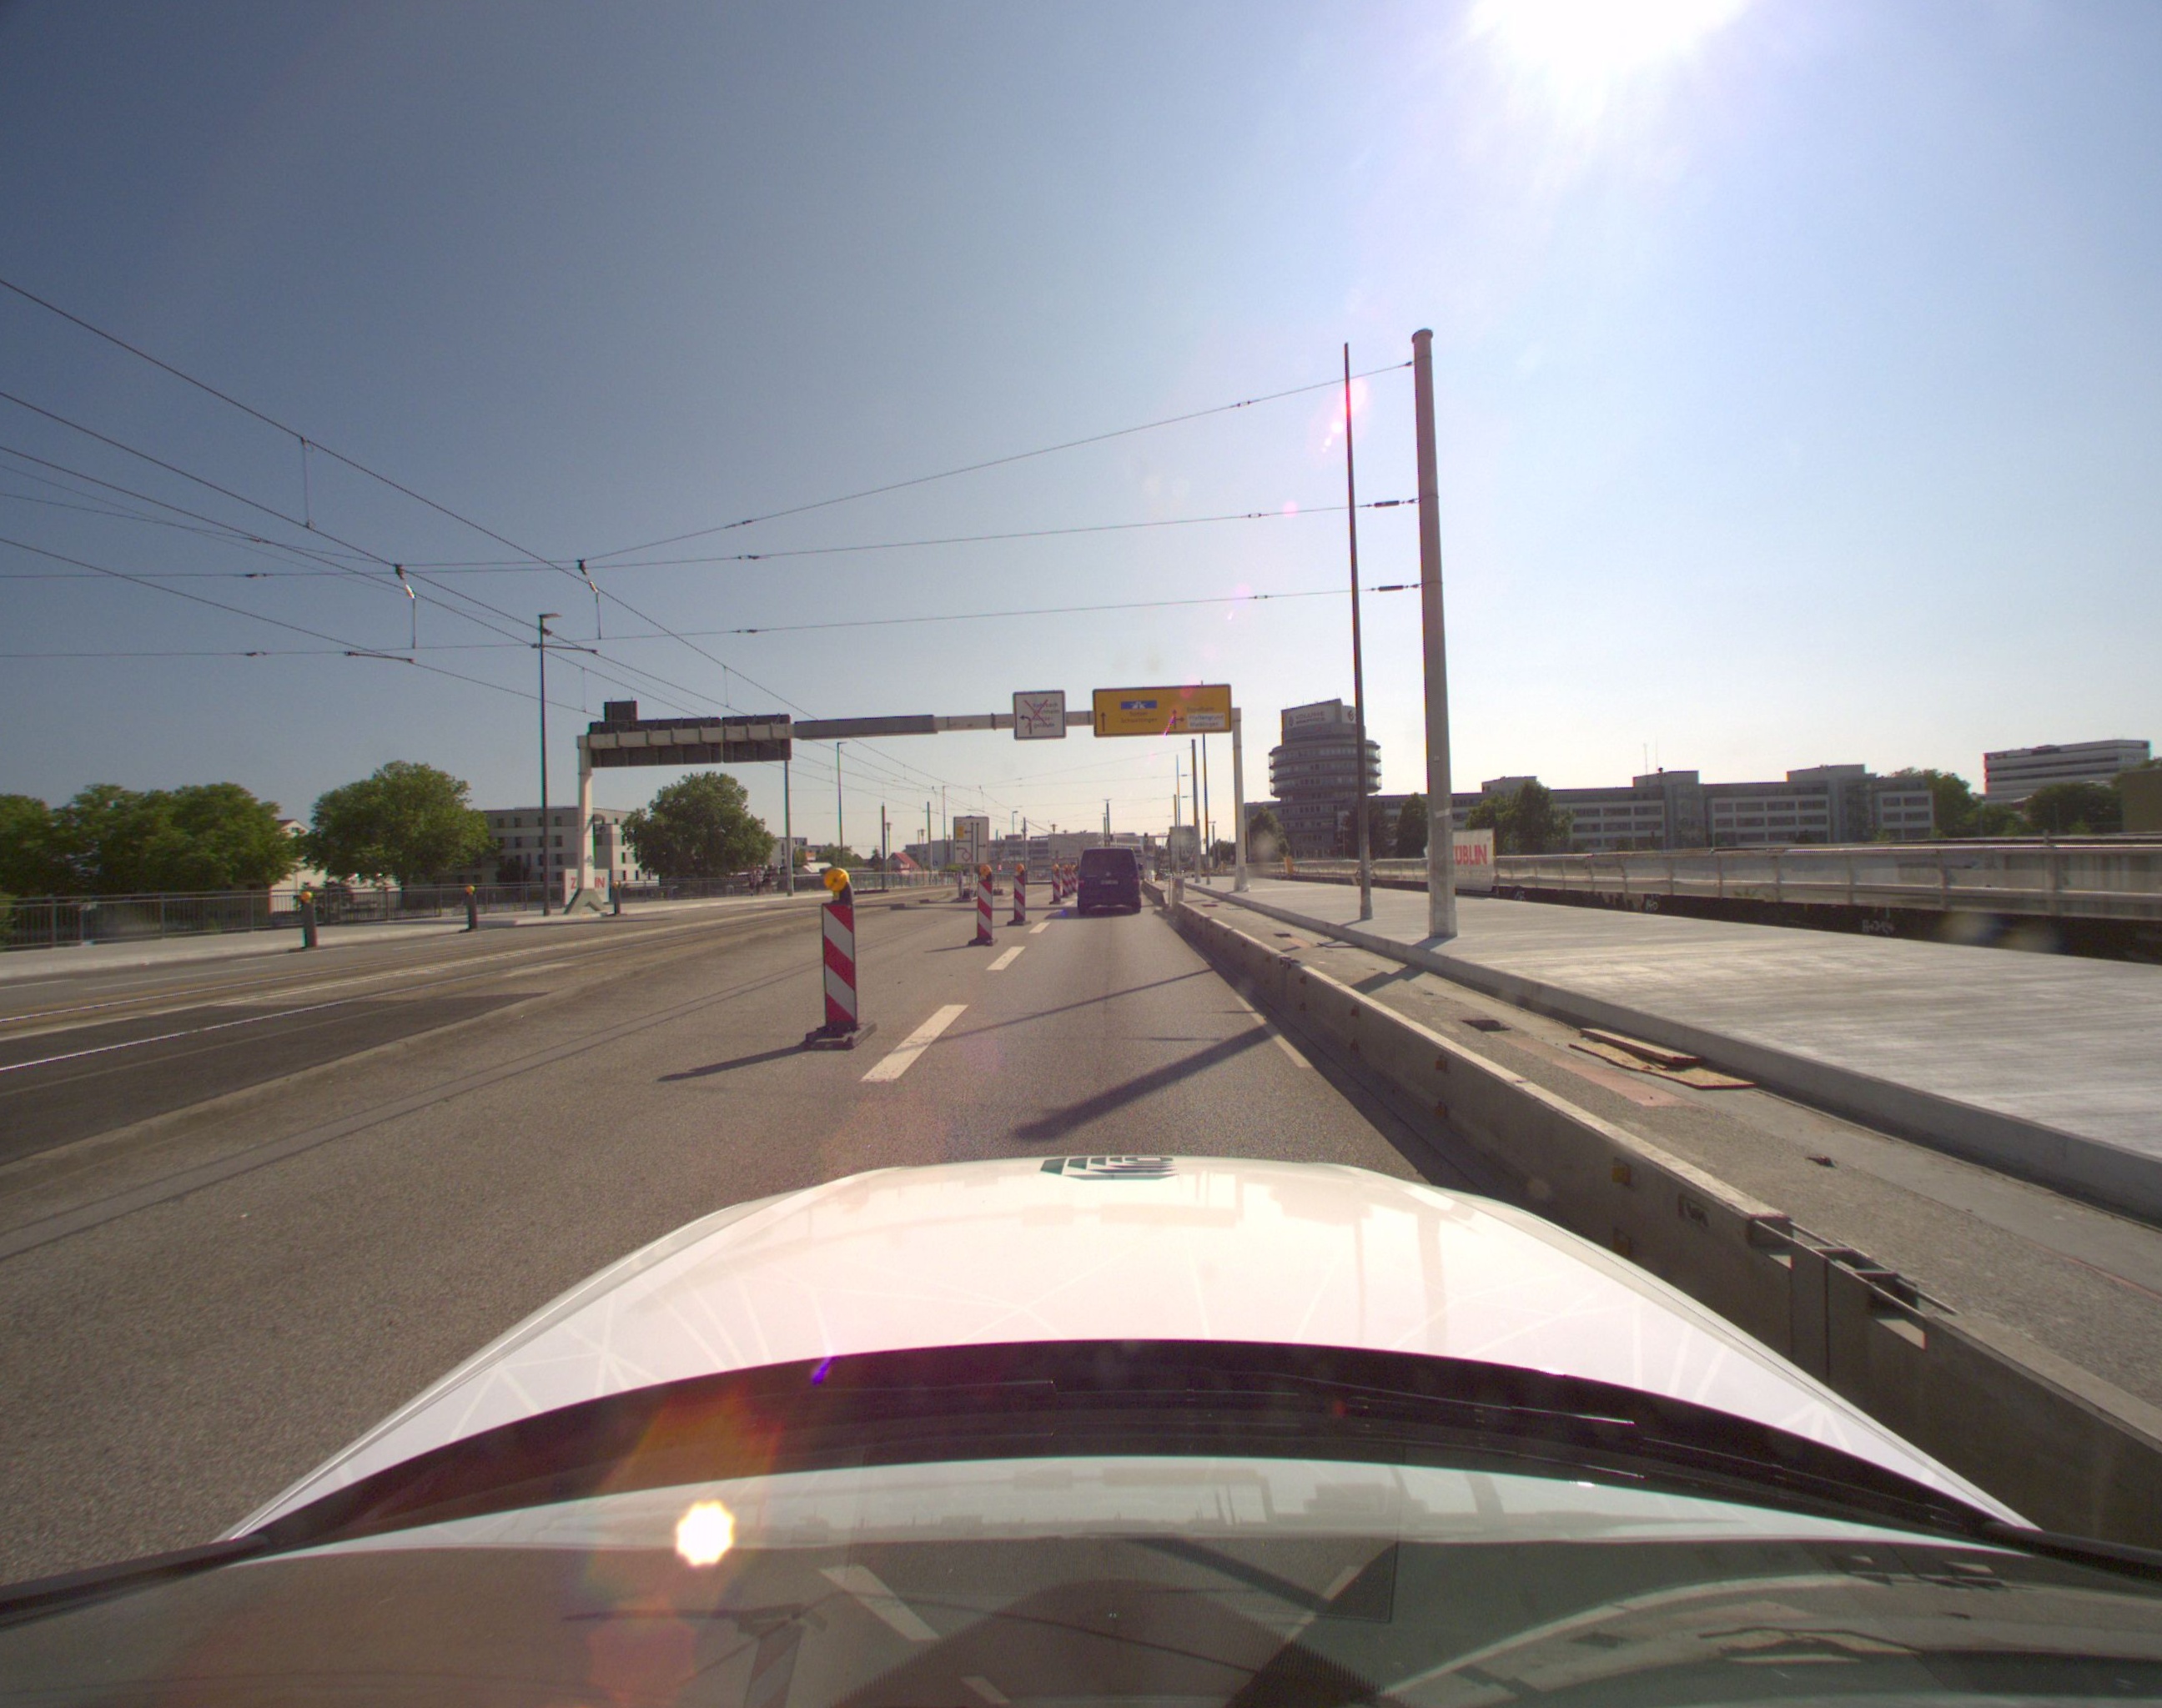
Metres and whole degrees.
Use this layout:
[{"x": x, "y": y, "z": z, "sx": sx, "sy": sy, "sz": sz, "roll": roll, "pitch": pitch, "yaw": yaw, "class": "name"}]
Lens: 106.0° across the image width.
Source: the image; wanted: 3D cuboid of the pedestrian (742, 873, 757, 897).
[{"x": -23.618, "y": 2.197, "z": 58.019, "sx": 0.595, "sy": 1.687, "sz": 0.819, "roll": -2, "pitch": -1, "yaw": 5, "class": "pedestrian"}]

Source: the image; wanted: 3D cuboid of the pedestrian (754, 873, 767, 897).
[{"x": -22.964, "y": 2.211, "z": 58.393, "sx": 0.484, "sy": 1.687, "sz": 0.809, "roll": -2, "pitch": -1, "yaw": 5, "class": "pedestrian"}]

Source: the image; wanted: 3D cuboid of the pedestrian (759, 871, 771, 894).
[{"x": -23.666, "y": 2.153, "z": 61.021, "sx": 0.501, "sy": 1.687, "sz": 0.774, "roll": -2, "pitch": -1, "yaw": 5, "class": "pedestrian"}]

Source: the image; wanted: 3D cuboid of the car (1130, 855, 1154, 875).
[{"x": 9.060, "y": 1.658, "z": 121.094, "sx": 2.321, "sy": 2.887, "sz": 5.996, "roll": -1, "pitch": 0, "yaw": 16, "class": "car"}]

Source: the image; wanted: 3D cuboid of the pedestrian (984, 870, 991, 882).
[{"x": -10.089, "y": 2.386, "z": 87.619, "sx": 0.644, "sy": 1.274, "sz": 0.454, "roll": -2, "pitch": -2, "yaw": 7, "class": "pedestrian"}]

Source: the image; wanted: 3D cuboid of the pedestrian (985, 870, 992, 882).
[{"x": -10.007, "y": 2.391, "z": 88.201, "sx": 0.644, "sy": 1.274, "sz": 0.698, "roll": -2, "pitch": -1, "yaw": 7, "class": "pedestrian"}]

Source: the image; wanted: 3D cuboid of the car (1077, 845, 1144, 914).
[{"x": 0.871, "y": 0.735, "z": 25.135, "sx": 1.881, "sy": 1.934, "sz": 4.001, "roll": 0, "pitch": -1, "yaw": 1, "class": "car"}]

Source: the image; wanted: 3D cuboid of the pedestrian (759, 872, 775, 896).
[{"x": -23.089, "y": 2.197, "z": 59.913, "sx": 0.749, "sy": 1.687, "sz": 0.732, "roll": -2, "pitch": -1, "yaw": 4, "class": "pedestrian"}]

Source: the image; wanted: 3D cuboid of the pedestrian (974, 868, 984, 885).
[{"x": -10.081, "y": 2.203, "z": 80.631, "sx": 0.655, "sy": 1.654, "sz": 0.742, "roll": -2, "pitch": -1, "yaw": 15, "class": "pedestrian"}]
